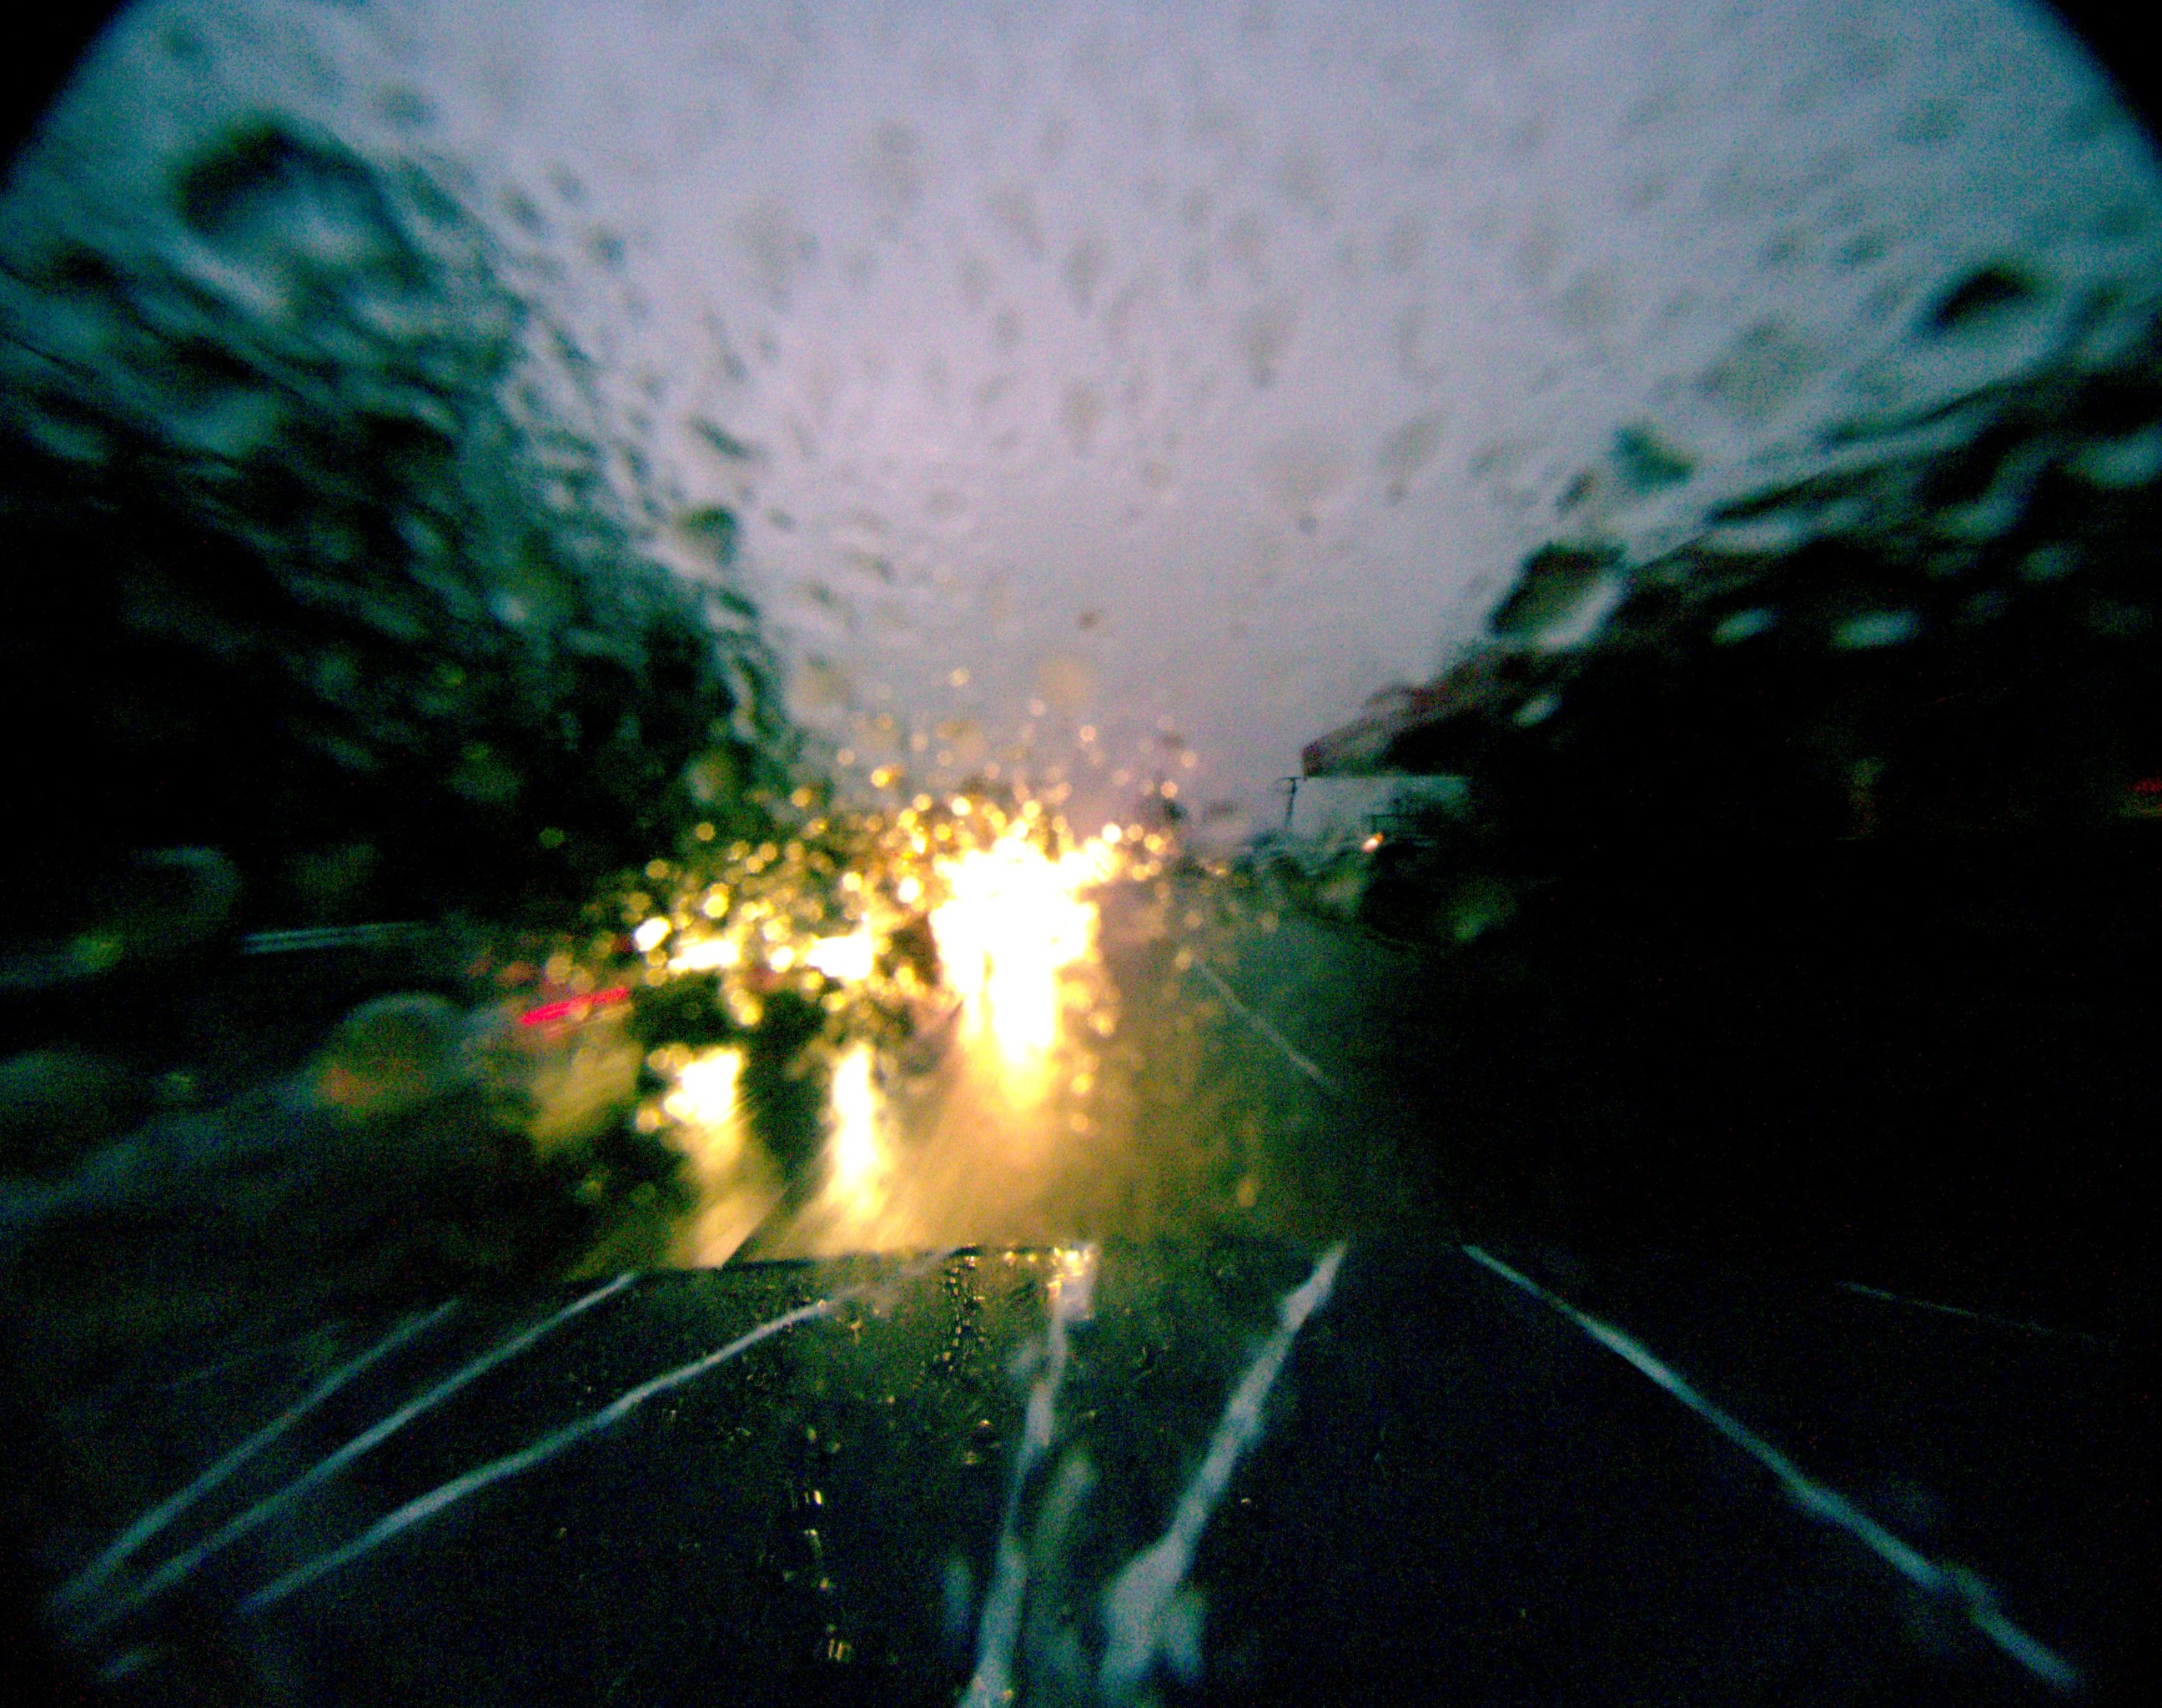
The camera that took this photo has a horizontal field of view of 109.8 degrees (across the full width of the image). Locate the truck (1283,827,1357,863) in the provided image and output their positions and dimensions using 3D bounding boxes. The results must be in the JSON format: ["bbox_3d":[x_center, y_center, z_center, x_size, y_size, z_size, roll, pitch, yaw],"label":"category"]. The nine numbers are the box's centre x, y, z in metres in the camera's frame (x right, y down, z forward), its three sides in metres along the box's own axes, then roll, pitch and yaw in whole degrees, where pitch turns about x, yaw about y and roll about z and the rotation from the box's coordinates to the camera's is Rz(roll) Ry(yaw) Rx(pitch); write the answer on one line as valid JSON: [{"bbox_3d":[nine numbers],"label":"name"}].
[{"bbox_3d":[31.387,-1.232,99.730,8.715,4.237,3.004,-3,1,-11],"label":"truck"}]

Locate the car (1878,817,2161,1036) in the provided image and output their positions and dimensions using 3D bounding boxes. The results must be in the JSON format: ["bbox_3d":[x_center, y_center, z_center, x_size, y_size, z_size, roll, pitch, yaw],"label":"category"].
[{"bbox_3d":[10.647,0.489,7.060,4.287,1.653,2.000,-4,0,1],"label":"car"}]

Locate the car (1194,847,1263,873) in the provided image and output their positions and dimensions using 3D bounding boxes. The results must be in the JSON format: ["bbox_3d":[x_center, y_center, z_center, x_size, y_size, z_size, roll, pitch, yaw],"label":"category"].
[{"bbox_3d":[10.643,0.417,54.988,4.547,1.667,2.010,-2,0,-4],"label":"car"}]

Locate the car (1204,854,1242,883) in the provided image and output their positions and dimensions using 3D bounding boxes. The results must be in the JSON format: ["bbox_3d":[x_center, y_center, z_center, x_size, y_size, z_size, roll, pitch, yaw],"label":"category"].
[{"bbox_3d":[7.757,0.777,41.742,1.522,1.534,3.015,0,0,0],"label":"car"}]

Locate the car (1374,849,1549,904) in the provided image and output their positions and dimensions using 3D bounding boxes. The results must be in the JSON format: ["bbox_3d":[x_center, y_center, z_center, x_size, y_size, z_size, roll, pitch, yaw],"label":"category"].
[{"bbox_3d":[10.382,0.585,20.944,3.868,1.338,1.840,-2,0,0],"label":"car"}]

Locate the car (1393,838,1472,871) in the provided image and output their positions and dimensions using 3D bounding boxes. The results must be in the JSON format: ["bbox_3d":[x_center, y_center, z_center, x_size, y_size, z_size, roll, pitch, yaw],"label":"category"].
[{"bbox_3d":[22.011,0.048,47.684,3.997,1.911,1.958,-2,0,0],"label":"car"}]

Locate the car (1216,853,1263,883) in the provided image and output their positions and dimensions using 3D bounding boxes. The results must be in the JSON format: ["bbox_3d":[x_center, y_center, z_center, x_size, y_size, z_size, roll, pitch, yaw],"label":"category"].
[{"bbox_3d":[7.775,0.655,37.555,1.686,1.412,3.741,-1,0,2],"label":"car"}]

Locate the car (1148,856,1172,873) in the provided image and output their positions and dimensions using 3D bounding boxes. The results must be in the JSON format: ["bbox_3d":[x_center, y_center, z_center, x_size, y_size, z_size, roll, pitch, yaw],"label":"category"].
[{"bbox_3d":[7.063,0.934,67.949,1.574,1.314,4.254,0,2,-2],"label":"car"}]

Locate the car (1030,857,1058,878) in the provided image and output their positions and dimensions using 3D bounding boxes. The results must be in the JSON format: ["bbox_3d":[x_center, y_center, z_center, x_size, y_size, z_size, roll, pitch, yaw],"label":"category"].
[{"bbox_3d":[-2.933,1.027,59.264,2.016,1.484,3.998,-2,0,-4],"label":"car"}]

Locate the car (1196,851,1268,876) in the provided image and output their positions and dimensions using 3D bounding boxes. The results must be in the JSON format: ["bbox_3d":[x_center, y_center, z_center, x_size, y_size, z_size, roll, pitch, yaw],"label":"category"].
[{"bbox_3d":[9.917,0.644,50.056,4.346,1.489,1.826,-2,0,1],"label":"car"}]

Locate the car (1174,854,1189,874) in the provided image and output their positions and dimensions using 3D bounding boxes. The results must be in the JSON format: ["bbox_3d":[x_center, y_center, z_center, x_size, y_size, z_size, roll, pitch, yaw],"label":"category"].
[{"bbox_3d":[8.467,0.831,64.125,1.174,1.634,2.872,-1,0,9],"label":"car"}]

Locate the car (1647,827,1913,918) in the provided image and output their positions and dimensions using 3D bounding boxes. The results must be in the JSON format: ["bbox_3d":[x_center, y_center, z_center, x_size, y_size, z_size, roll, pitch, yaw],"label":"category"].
[{"bbox_3d":[14.588,0.337,16.250,1.893,1.647,4.148,-2,0,1],"label":"car"}]

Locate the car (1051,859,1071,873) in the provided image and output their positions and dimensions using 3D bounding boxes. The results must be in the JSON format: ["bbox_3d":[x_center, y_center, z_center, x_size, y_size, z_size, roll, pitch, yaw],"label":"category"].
[{"bbox_3d":[-2.346,1.365,88.080,2.016,1.484,3.998,-1,0,-4],"label":"car"}]

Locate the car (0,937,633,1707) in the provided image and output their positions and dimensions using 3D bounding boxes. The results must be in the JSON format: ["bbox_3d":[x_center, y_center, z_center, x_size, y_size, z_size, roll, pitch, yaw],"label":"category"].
[{"bbox_3d":[-3.043,1.093,1.545,1.657,1.328,4.272,-2,0,1],"label":"car"}]

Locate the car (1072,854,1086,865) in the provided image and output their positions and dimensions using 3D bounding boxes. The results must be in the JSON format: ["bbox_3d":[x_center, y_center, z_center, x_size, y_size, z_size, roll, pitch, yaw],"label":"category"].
[{"bbox_3d":[-0.338,0.825,113.471,1.890,1.618,3.999,-2,0,-2],"label":"car"}]

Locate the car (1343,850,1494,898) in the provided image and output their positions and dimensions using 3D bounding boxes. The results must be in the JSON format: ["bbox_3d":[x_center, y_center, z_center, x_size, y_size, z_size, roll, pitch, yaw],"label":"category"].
[{"bbox_3d":[10.431,0.586,23.674,3.868,1.338,1.840,-2,0,0],"label":"car"}]

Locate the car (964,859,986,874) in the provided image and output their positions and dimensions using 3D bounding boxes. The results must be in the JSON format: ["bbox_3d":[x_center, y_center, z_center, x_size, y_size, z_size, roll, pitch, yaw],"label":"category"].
[{"bbox_3d":[-10.315,1.184,74.111,1.576,1.388,4.168,0,0,0],"label":"car"}]

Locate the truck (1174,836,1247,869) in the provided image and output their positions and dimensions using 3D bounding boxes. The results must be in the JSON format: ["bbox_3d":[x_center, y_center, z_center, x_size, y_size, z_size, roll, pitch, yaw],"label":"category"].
[{"bbox_3d":[13.057,-0.105,76.928,6.877,3.123,2.334,-1,0,-1],"label":"truck"}]

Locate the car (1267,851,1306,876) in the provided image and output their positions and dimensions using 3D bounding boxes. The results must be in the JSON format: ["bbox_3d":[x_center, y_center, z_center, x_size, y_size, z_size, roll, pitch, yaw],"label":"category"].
[{"bbox_3d":[14.482,0.627,53.718,1.674,1.667,3.706,-1,0,-2],"label":"car"}]

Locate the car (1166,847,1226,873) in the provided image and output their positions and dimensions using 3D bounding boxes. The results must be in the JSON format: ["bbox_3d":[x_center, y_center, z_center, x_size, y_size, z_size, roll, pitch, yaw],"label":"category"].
[{"bbox_3d":[12.215,0.656,80.843,6.047,2.623,2.195,-1,0,-2],"label":"car"}]

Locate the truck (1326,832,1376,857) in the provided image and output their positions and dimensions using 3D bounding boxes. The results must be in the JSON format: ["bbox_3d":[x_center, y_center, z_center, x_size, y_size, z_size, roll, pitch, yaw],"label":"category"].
[{"bbox_3d":[30.193,-1.059,85.110,4.726,2.681,2.232,-2,0,-14],"label":"truck"}]

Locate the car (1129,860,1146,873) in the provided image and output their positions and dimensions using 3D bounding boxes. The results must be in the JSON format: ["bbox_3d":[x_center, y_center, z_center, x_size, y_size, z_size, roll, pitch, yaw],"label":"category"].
[{"bbox_3d":[6.307,1.409,85.512,1.655,1.411,3.743,-1,-1,1],"label":"car"}]

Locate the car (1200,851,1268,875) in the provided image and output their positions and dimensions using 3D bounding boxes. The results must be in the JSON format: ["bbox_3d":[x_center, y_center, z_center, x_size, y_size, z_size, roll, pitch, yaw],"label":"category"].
[{"bbox_3d":[10.503,0.642,52.421,4.346,1.489,1.995,-2,0,3],"label":"car"}]

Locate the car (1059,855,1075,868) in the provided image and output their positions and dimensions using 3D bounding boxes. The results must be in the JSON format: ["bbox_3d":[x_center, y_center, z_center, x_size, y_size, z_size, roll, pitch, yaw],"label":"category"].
[{"bbox_3d":[-1.818,0.939,99.773,1.890,1.618,4.000,-2,0,1],"label":"car"}]

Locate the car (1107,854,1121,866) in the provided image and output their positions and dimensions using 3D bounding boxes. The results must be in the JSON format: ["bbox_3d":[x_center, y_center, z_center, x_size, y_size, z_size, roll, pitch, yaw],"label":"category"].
[{"bbox_3d":[4.118,0.759,95.070,1.607,1.525,4.000,0,0,0],"label":"car"}]

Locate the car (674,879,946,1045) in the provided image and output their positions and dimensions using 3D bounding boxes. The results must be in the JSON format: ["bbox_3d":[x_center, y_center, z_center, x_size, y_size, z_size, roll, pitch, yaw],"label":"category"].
[{"bbox_3d":[-3.026,1.120,9.679,1.645,1.358,4.769,-2,0,1],"label":"car"}]

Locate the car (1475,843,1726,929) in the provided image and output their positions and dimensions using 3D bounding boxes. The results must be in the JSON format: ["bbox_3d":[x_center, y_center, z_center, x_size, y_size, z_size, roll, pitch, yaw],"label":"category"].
[{"bbox_3d":[10.504,0.619,15.575,3.868,1.550,1.840,-2,0,0],"label":"car"}]

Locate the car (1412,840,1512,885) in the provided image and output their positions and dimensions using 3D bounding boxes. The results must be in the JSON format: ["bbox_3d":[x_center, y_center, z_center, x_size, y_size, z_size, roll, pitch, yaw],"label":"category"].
[{"bbox_3d":[14.699,0.331,29.595,1.872,1.545,4.045,-3,-1,1],"label":"car"}]

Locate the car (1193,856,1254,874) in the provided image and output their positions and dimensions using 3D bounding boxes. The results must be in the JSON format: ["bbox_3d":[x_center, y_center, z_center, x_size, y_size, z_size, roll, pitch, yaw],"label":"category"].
[{"bbox_3d":[12.004,0.917,64.185,4.768,1.429,1.783,0,0,-2],"label":"car"}]

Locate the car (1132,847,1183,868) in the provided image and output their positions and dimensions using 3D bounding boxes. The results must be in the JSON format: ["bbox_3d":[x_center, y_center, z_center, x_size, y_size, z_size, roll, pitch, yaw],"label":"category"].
[{"bbox_3d":[9.535,0.471,95.456,6.171,2.616,2.176,0,0,0],"label":"car"}]

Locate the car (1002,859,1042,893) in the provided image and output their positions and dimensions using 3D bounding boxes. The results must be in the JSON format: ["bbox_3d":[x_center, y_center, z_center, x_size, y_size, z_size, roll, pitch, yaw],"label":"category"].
[{"bbox_3d":[-2.888,1.051,37.692,1.569,1.520,4.006,-2,0,1],"label":"car"}]

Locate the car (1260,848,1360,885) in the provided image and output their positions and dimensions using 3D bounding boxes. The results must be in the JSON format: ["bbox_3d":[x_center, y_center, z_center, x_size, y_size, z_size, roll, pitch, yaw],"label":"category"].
[{"bbox_3d":[10.222,0.550,34.051,3.868,1.443,1.840,-3,0,0],"label":"car"}]

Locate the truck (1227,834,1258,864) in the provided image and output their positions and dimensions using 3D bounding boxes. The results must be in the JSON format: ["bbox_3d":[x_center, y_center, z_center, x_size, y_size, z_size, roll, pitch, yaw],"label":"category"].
[{"bbox_3d":[18.988,-0.532,89.722,2.036,3.434,5.850,1,0,-4],"label":"truck"}]

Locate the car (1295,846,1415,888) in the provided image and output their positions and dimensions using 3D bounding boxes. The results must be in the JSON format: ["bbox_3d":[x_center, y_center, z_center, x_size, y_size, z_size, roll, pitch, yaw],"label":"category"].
[{"bbox_3d":[10.474,0.485,29.224,3.868,1.401,1.944,-3,0,0],"label":"car"}]

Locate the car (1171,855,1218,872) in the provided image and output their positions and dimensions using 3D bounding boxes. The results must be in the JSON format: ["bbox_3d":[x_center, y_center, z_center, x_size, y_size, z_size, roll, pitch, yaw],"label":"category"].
[{"bbox_3d":[10.312,0.871,69.164,3.920,1.469,1.810,1,0,0],"label":"car"}]

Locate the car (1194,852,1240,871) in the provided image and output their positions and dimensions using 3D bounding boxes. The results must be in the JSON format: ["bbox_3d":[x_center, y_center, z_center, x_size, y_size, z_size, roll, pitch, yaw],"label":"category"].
[{"bbox_3d":[13.292,0.706,74.531,4.060,1.722,2.024,-2,0,-3],"label":"car"}]

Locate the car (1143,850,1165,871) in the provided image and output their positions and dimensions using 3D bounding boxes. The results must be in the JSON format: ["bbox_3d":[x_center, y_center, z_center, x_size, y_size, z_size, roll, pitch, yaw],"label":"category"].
[{"bbox_3d":[7.085,0.599,73.726,1.839,2.001,4.484,-1,0,2],"label":"car"}]

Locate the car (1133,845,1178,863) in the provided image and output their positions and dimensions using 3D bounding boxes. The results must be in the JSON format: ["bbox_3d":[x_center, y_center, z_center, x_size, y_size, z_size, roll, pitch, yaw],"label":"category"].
[{"bbox_3d":[8.840,-0.007,90.637,5.159,2.137,2.058,0,0,0],"label":"car"}]

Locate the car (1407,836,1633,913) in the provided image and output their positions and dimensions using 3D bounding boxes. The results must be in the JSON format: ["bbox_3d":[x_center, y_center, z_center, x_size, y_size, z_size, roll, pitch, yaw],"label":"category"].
[{"bbox_3d":[10.444,0.469,18.333,4.291,1.647,1.980,-2,0,0],"label":"car"}]

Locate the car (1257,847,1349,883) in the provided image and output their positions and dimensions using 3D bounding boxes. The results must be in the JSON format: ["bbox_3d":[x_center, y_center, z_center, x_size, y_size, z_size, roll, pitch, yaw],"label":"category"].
[{"bbox_3d":[10.978,0.523,37.783,4.057,1.640,1.942,-1,0,2],"label":"car"}]

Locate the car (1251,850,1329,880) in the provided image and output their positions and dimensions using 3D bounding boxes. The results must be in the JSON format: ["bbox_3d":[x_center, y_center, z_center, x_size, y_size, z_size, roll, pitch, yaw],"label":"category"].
[{"bbox_3d":[11.661,0.611,42.582,3.782,1.451,1.776,-3,0,-2],"label":"car"}]

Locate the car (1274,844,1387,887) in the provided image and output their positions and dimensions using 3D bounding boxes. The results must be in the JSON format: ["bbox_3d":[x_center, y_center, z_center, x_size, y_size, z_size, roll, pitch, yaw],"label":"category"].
[{"bbox_3d":[10.306,0.468,31.556,4.041,1.545,1.823,-3,0,0],"label":"car"}]

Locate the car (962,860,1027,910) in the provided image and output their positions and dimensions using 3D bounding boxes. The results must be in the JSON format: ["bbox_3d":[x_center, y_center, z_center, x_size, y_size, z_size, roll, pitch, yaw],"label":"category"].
[{"bbox_3d":[-3.014,1.041,27.293,1.712,1.566,4.464,-1,0,1],"label":"car"}]

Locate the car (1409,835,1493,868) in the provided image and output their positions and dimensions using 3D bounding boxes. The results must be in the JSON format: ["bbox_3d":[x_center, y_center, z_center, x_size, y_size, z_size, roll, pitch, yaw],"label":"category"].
[{"bbox_3d":[22.129,-0.124,45.567,3.997,1.797,1.958,-2,0,0],"label":"car"}]

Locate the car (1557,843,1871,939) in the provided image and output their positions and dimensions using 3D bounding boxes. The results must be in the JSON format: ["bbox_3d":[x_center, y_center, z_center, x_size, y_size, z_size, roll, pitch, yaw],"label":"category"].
[{"bbox_3d":[10.719,0.588,13.088,3.868,1.433,1.840,-2,0,0],"label":"car"}]

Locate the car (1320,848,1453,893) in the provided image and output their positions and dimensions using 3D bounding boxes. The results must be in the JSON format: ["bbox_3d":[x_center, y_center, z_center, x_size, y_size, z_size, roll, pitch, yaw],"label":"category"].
[{"bbox_3d":[10.604,0.563,26.581,3.868,1.397,1.840,-2,0,0],"label":"car"}]

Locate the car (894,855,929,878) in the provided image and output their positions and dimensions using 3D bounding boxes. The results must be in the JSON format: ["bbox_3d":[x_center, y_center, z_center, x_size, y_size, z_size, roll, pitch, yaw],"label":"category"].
[{"bbox_3d":[-14.336,1.019,64.451,1.998,1.848,4.298,0,0,0],"label":"car"}]
